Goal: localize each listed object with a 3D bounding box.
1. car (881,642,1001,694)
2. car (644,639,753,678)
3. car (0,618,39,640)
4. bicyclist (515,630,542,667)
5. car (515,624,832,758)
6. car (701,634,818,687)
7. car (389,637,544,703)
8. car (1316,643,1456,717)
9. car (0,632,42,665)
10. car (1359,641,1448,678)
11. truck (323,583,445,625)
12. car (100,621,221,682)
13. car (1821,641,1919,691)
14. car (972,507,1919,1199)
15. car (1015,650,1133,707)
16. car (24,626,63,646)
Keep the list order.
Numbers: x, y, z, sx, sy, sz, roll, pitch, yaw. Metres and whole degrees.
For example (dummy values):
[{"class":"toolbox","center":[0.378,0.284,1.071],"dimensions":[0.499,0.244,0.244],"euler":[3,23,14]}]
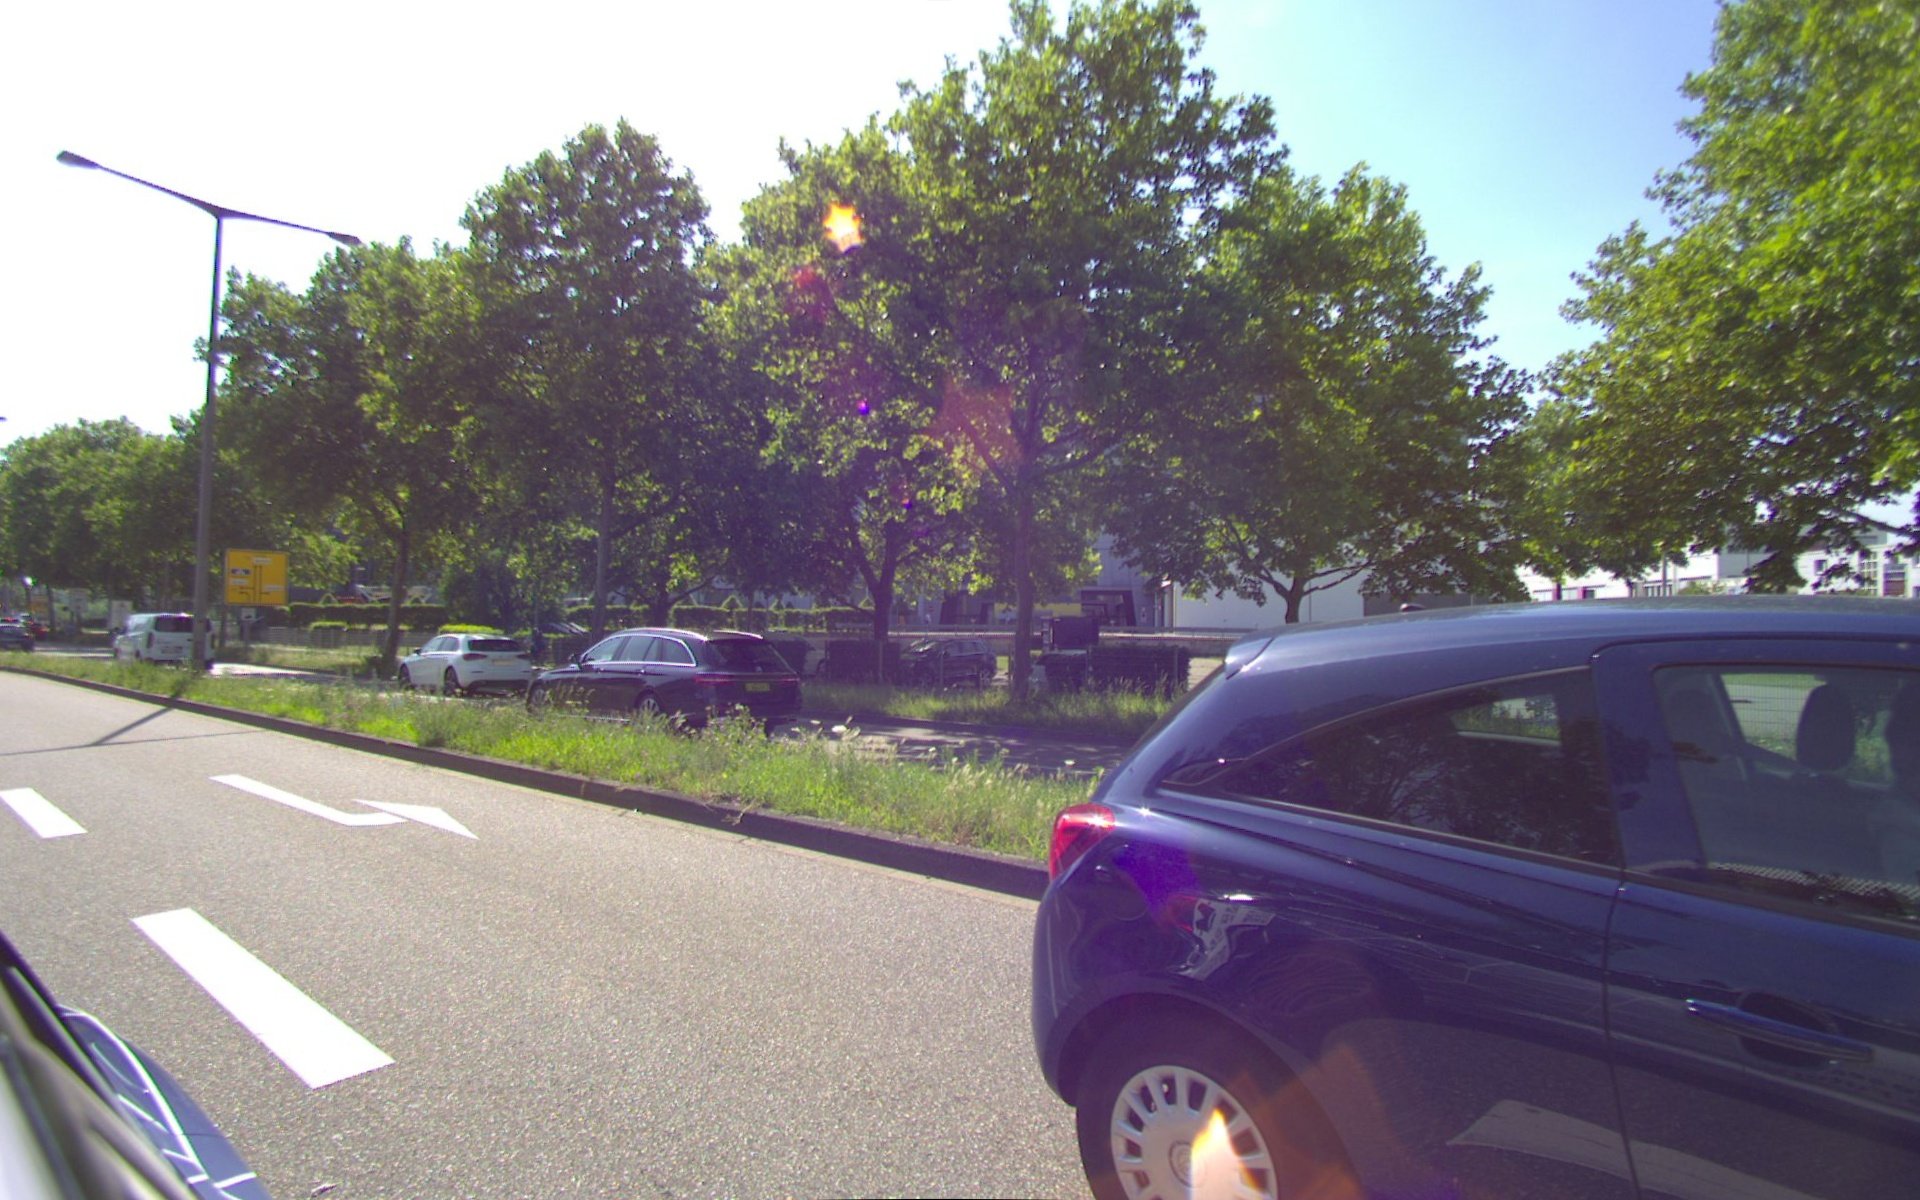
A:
[{"class":"car","center":[-0.565,2.214,33.638],"dimensions":[1.868,1.614,3.946],"euler":[-2,-3,40]},{"class":"car","center":[-10.476,2.345,40.799],"dimensions":[1.772,1.475,3.944],"euler":[-2,-3,41]},{"class":"car","center":[-81.574,2.569,87.769],"dimensions":[4.648,1.849,1.973],"euler":[-2,-4,41]},{"class":"bicyclist","center":[-18.111,2.034,42.518],"dimensions":[0.941,1.496,0.674],"euler":[-1,-3,41]},{"class":"car","center":[-4.069,1.130,13.958],"dimensions":[4.680,1.542,1.973],"euler":[-2,-3,41]},{"class":"car","center":[-7.710,2.287,39.101],"dimensions":[2.157,1.837,3.942],"euler":[-1,-1,44]},{"class":"car","center":[-11.924,1.624,24.322],"dimensions":[4.356,1.409,1.768],"euler":[-1,-3,41]},{"class":"car","center":[9.653,1.725,22.803],"dimensions":[1.808,1.506,3.946],"euler":[-2,-3,40]},{"class":"car","center":[-44.073,2.208,46.723],"dimensions":[4.277,1.480,1.751],"euler":[-1,-3,38]},{"class":"car","center":[20.289,2.700,46.288],"dimensions":[3.933,1.516,1.810],"euler":[0,-4,-33]},{"class":"truck","center":[-47.922,0.384,84.370],"dimensions":[8.875,3.421,2.669],"euler":[0,-2,5]},{"class":"car","center":[-26.966,1.712,34.065],"dimensions":[5.415,1.898,2.095],"euler":[-2,-3,40]},{"class":"car","center":[31.965,2.192,33.994],"dimensions":[4.286,1.633,1.815],"euler":[0,-2,5]},{"class":"car","center":[2.092,0.612,1.662],"dimensions":[4.046,1.494,1.609],"euler":[-2,-1,41]},{"class":"car","center":[3.428,2.254,29.943],"dimensions":[1.801,1.424,3.952],"euler":[0,-1,35]},{"class":"car","center":[-72.222,2.821,79.739],"dimensions":[3.998,1.473,1.745],"euler":[-1,-4,41]}]
